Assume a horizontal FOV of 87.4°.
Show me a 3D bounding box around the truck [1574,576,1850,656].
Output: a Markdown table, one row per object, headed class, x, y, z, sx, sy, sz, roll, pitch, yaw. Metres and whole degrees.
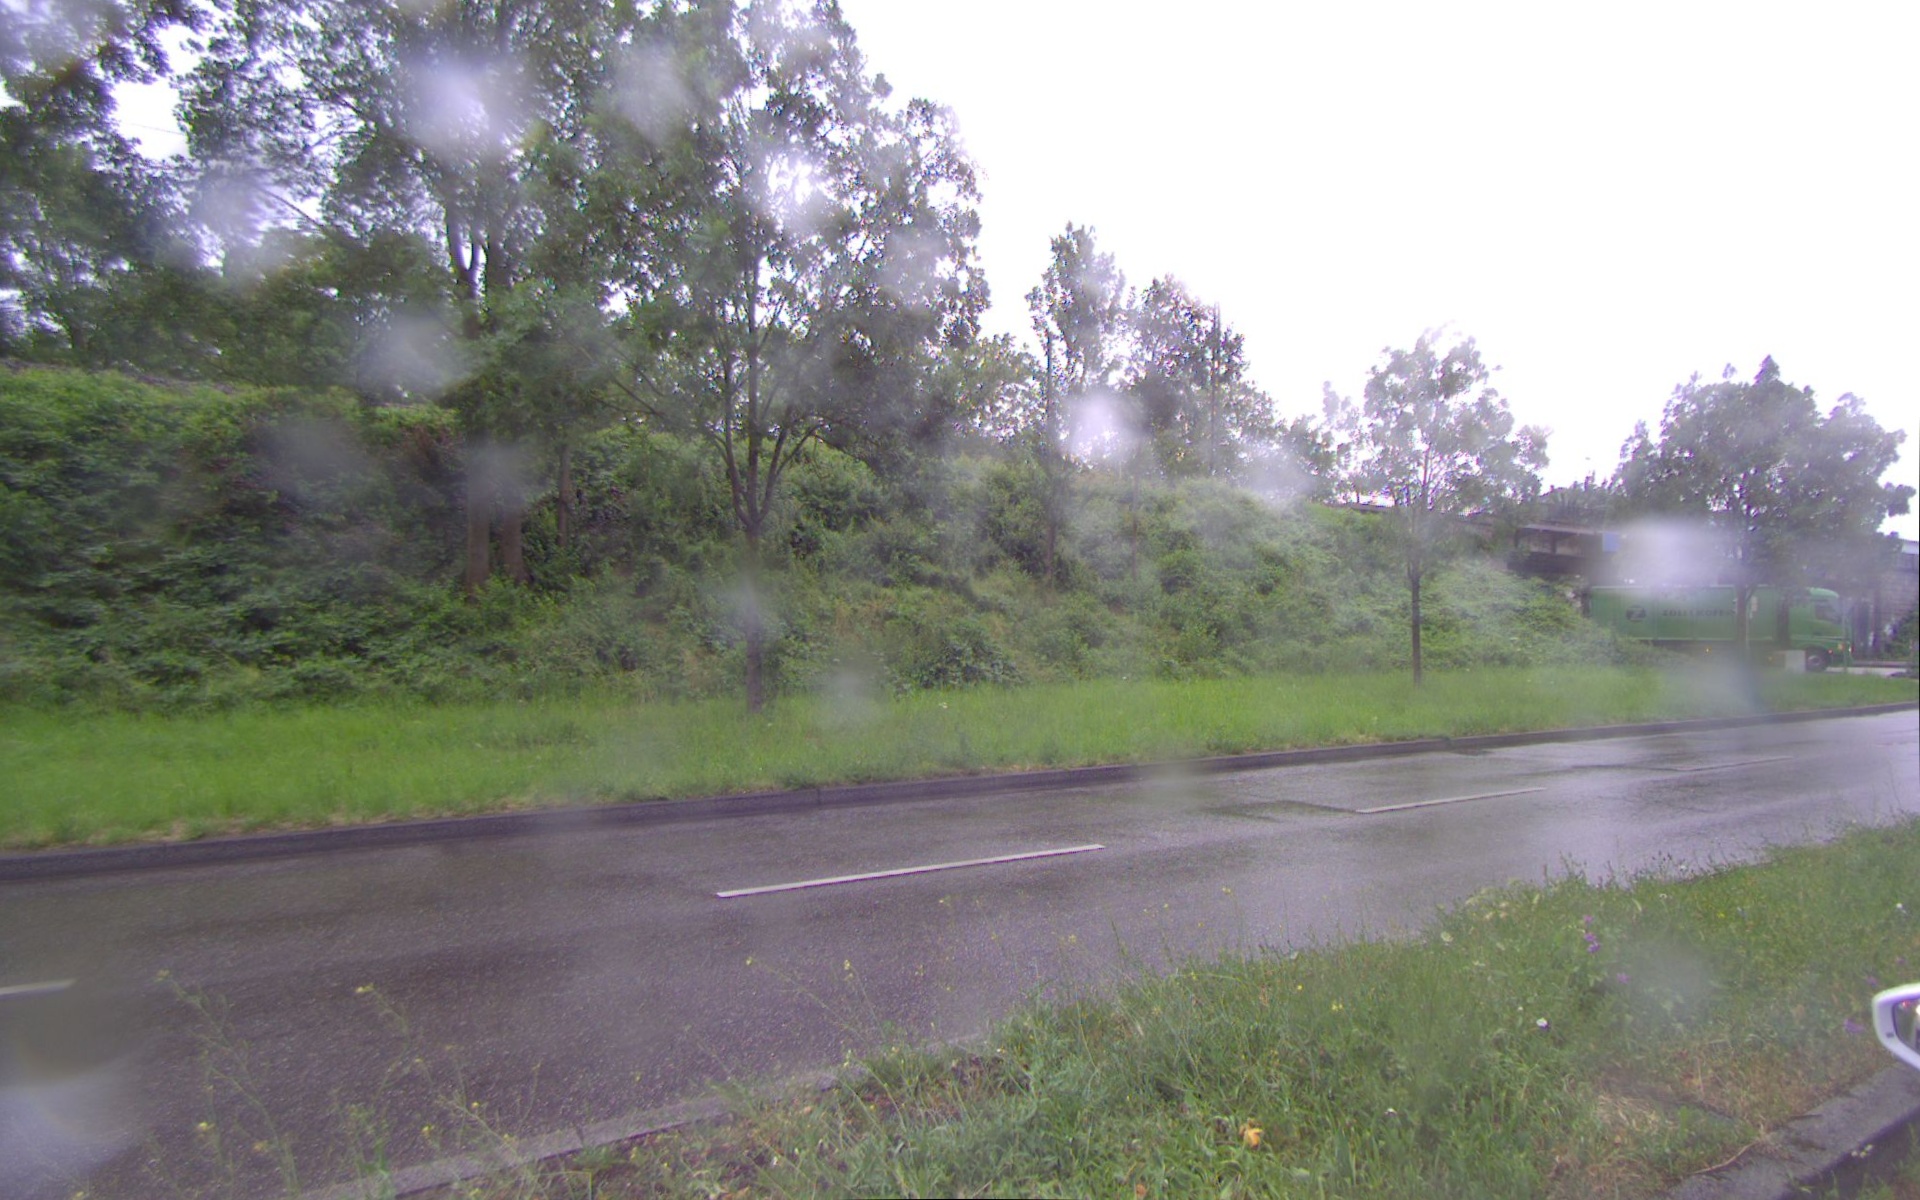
| class | x | y | z | sx | sy | sz | roll | pitch | yaw |
| --- | --- | --- | --- | --- | --- | --- | --- | --- | --- |
| truck | 34.274 | 0.693 | 46.340 | 9.872 | 3.416 | 2.346 | 0 | -1 | 25 |
